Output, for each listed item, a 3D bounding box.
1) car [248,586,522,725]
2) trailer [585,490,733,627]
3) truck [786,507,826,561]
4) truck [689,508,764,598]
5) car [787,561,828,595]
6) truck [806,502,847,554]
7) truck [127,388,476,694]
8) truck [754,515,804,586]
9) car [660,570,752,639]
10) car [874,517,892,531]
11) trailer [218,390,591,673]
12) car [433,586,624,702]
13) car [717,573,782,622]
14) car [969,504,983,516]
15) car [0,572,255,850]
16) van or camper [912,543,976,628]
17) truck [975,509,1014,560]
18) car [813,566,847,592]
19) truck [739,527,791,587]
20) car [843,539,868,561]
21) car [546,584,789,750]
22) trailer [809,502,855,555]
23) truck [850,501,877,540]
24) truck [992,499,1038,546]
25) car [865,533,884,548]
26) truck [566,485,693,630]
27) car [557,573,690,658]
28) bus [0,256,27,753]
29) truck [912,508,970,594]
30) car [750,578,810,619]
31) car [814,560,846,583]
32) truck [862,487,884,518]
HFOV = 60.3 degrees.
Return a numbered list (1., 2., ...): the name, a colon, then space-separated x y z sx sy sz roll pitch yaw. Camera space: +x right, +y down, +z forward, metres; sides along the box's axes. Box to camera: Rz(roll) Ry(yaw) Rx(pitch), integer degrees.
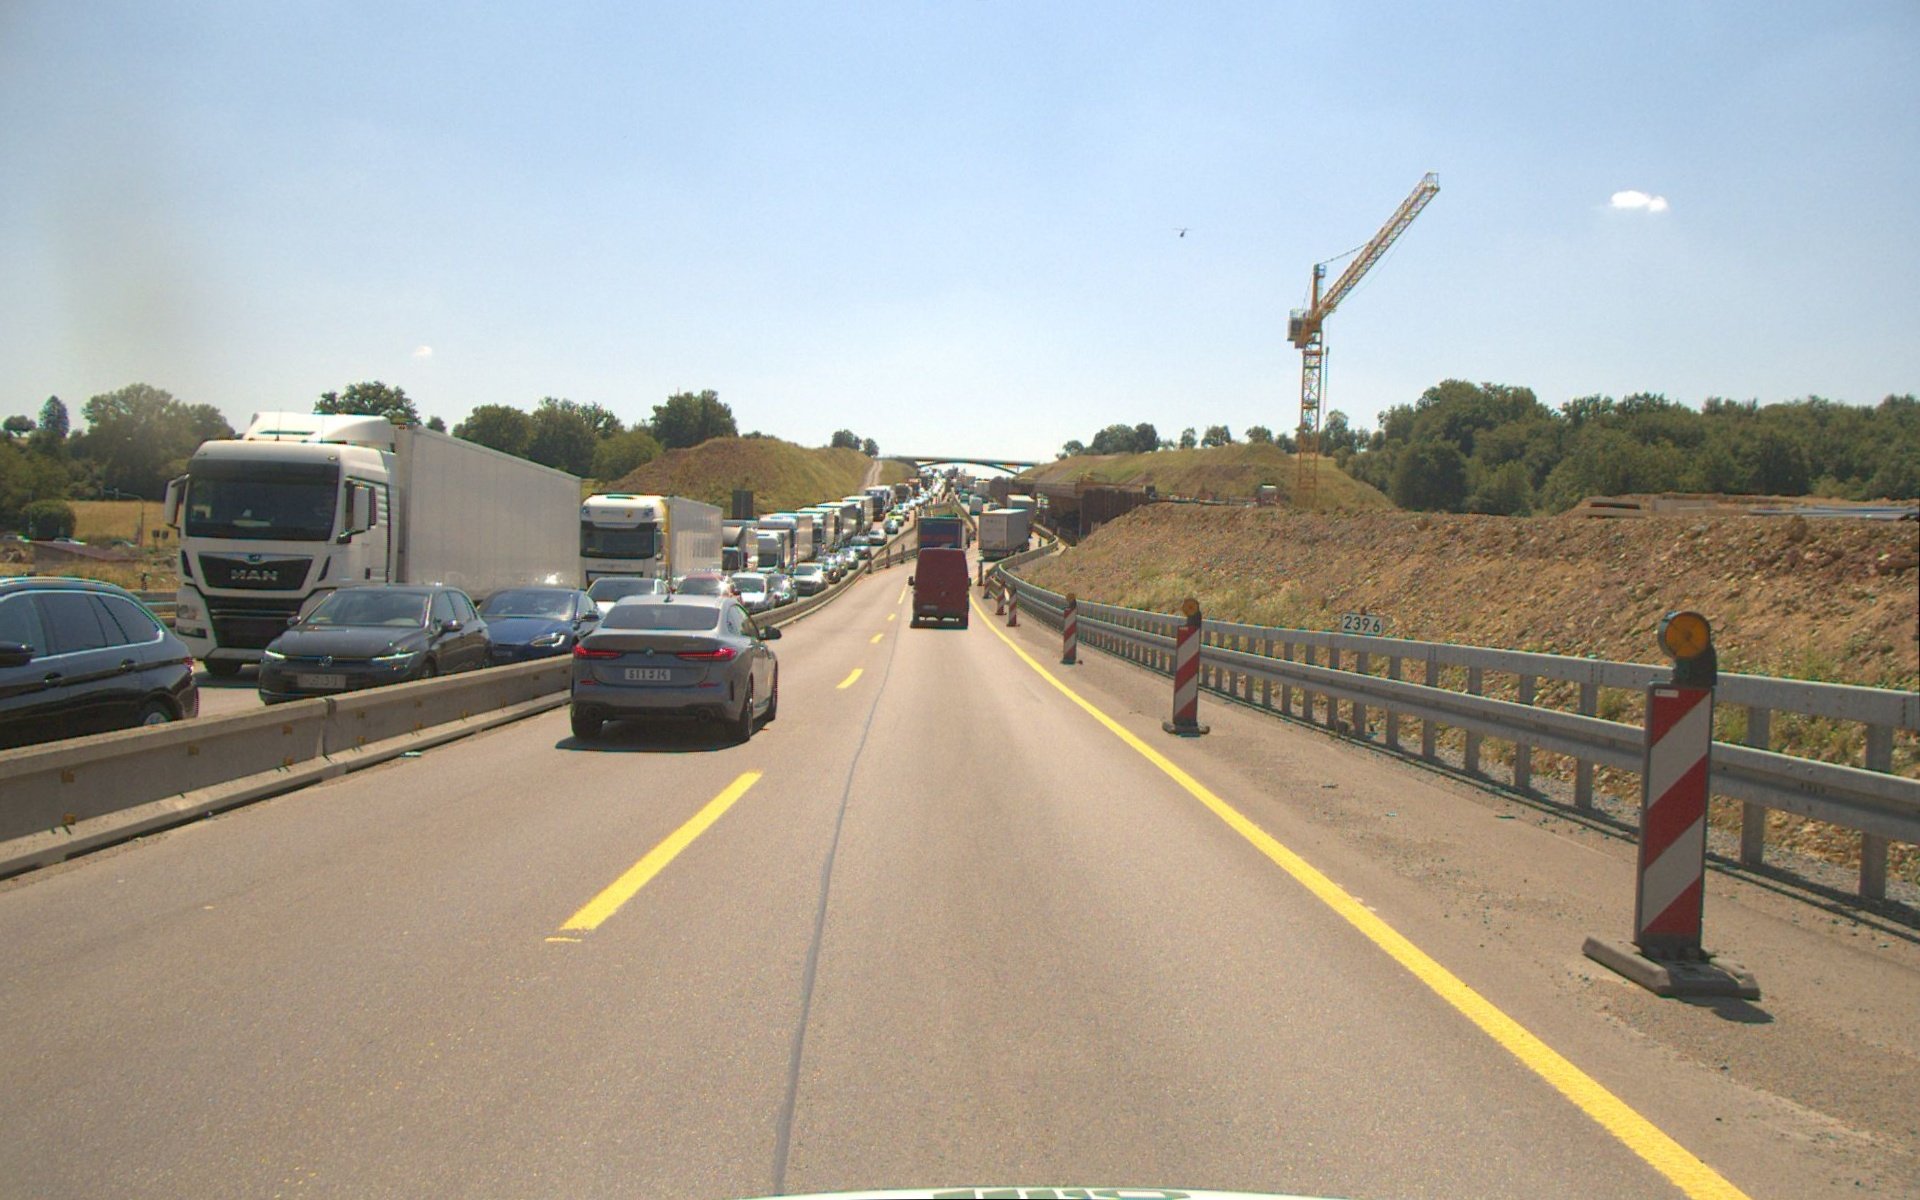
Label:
1. car: -6.738 0.574 19.944 1.795 1.448 4.681 1 1 -2
2. trailer: -10.448 -1.441 59.041 2.925 4.281 13.944 1 1 -1
3. truck: -11.963 -5.089 128.659 2.727 3.937 5.459 1 0 -3
4. truck: -10.826 -2.189 77.476 2.474 3.922 8.669 1 2 -2
5. car: -7.897 -1.132 86.096 1.790 1.680 4.545 -1 0 -2
6. truck: -11.924 -6.434 148.067 2.989 4.558 5.982 1 2 1
7. truck: -10.314 -0.913 26.790 3.034 4.270 6.701 1 1 -1
8. truck: -11.415 -3.194 104.820 2.499 4.304 6.530 1 2 -1
9. car: -7.046 0.081 46.274 1.953 1.659 4.757 2 2 -2
10. car: -8.720 -8.600 187.175 1.913 1.556 4.267 1 2 -1
11. trailer: -10.439 -1.225 33.447 3.077 4.459 14.075 1 1 -1
12. car: -6.610 0.601 25.920 1.776 1.462 5.120 2 2 -2
13. car: -7.223 -0.115 57.051 1.790 1.601 3.999 1 0 -2
14. car: 2.461 -13.799 254.544 1.913 1.669 4.266 1 0 -1
15. car: -6.267 0.609 10.019 1.879 1.447 5.090 2 1 -1
16. van or camper: -0.606 -0.556 57.825 1.988 2.791 4.514 1 2 -3
17. truck: 2.995 -5.595 143.125 2.974 4.172 7.089 0 0 4
18. car: -8.016 -1.291 102.340 1.790 1.562 4.545 1 0 -1
19. truck: -10.886 -2.479 92.834 2.385 3.202 7.022 0 2 -2
20. car: -8.786 -4.213 139.263 1.953 1.814 3.999 1 2 -2
21. car: -2.972 0.606 17.810 1.814 1.477 4.741 1 1 -1
22. trailer: -11.835 -6.596 153.907 2.979 4.631 12.132 1 2 1
23. truck: -10.053 -8.242 172.547 2.629 3.905 7.383 1 2 -3
24. truck: 6.361 -8.920 192.221 5.053 5.083 13.881 -1 2 1
25. car: -8.398 -5.865 163.237 1.711 1.433 4.000 1 2 -1
26. truck: -10.289 -1.313 52.059 2.917 4.257 5.872 1 1 -2
27. car: -6.993 0.286 34.877 1.953 1.649 4.880 0 0 -2
28. bus: -9.566 -0.785 7.560 2.684 4.338 14.472 1 0 -1
29. truck: -1.153 -2.860 96.397 2.961 4.774 6.928 -1 2 -4
30. car: -7.271 -0.093 67.201 1.953 1.584 4.338 1 0 -1
31. car: -8.861 -1.972 112.970 1.864 1.400 4.546 -2 2 -1
32. truck: -11.726 -13.171 223.045 2.830 3.905 7.999 1 2 -3
